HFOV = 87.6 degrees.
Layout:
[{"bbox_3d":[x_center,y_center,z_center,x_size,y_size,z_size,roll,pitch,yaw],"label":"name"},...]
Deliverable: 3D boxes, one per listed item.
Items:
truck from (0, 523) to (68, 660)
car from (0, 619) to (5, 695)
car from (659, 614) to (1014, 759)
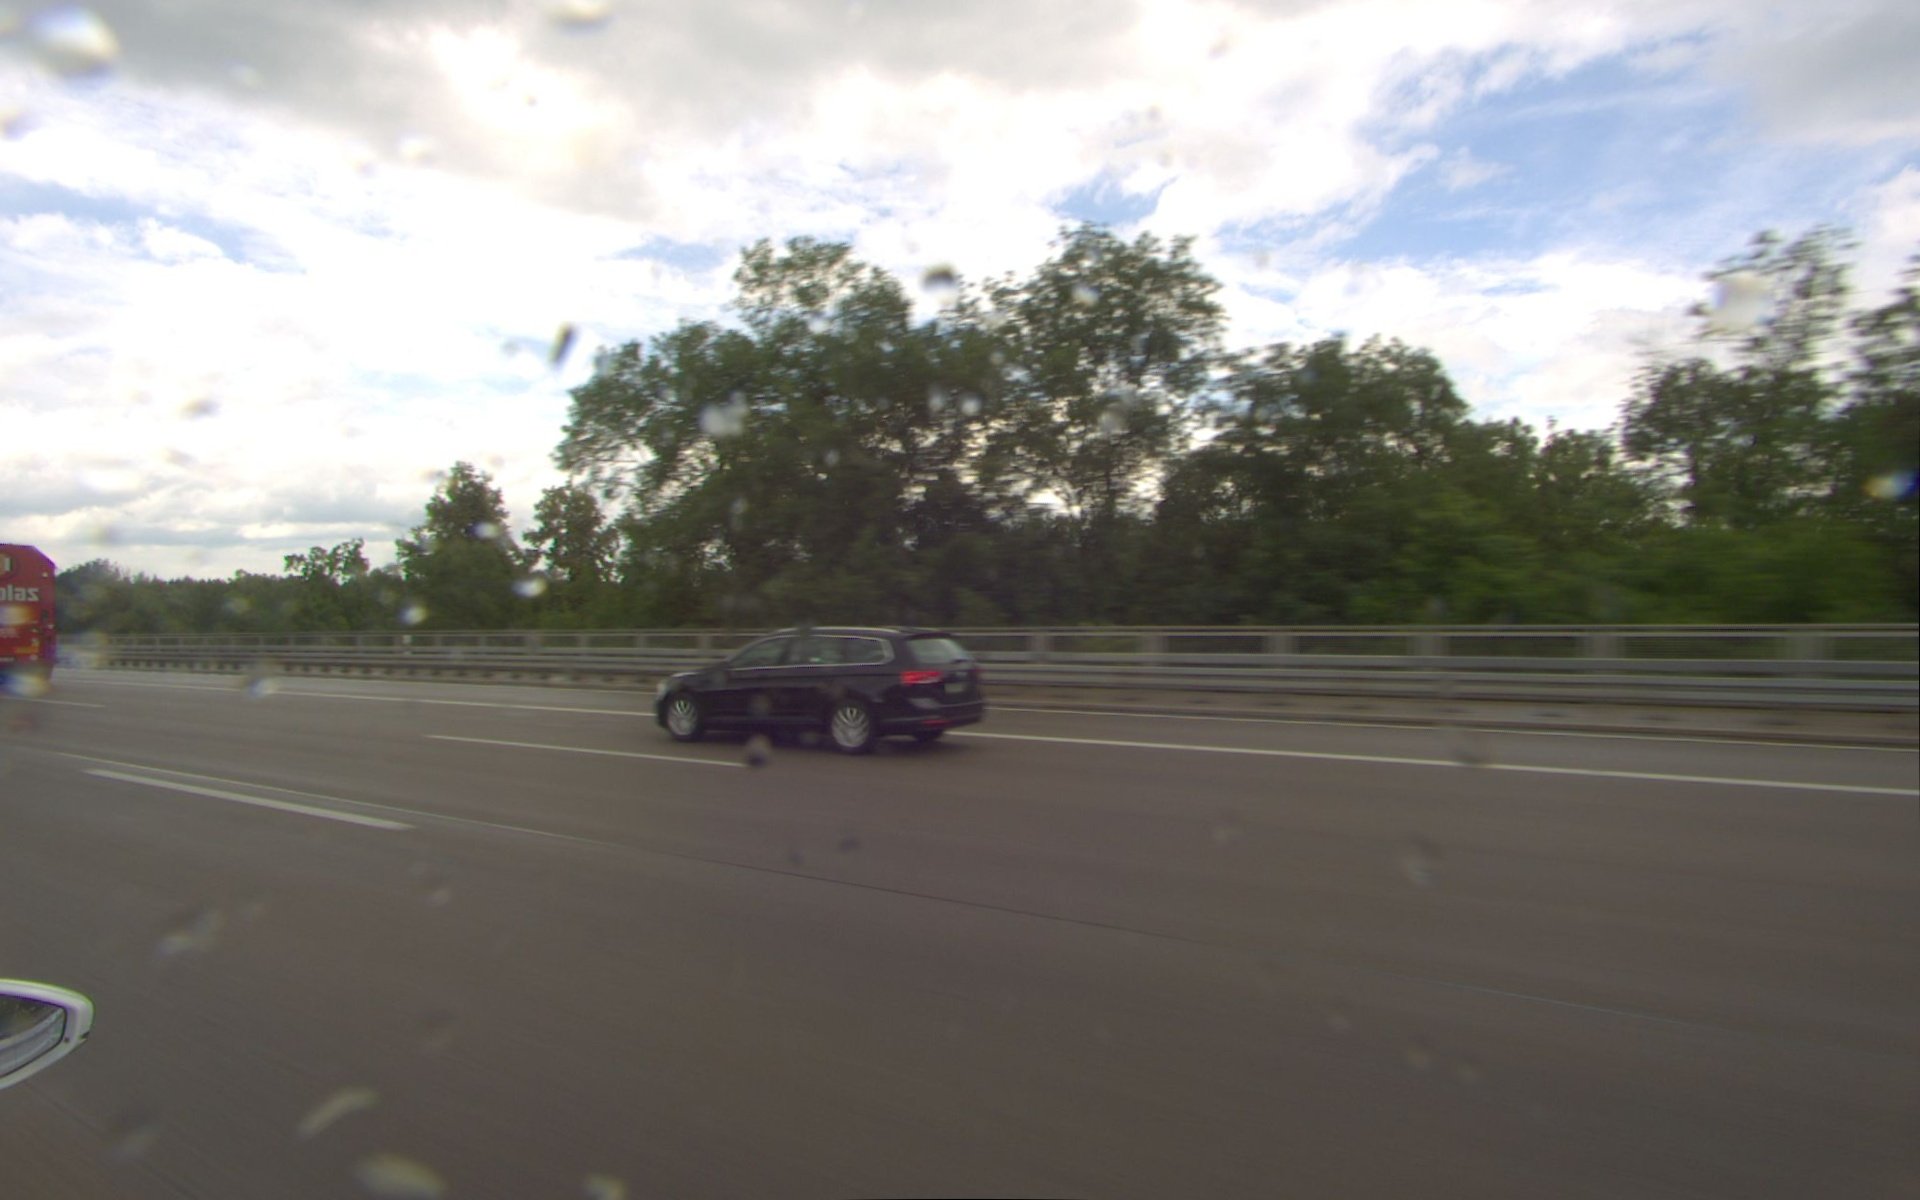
[{"bbox_3d":[-34.801,-0.172,33.832,15.418,4.056,3.145,-1,-1,34],"label":"truck"},{"bbox_3d":[-22.043,1.208,21.258,3.669,1.582,1.789,-1,-1,33],"label":"car"},{"bbox_3d":[-1.623,0.970,12.713,4.293,1.563,1.812,-1,-1,31],"label":"car"}]
